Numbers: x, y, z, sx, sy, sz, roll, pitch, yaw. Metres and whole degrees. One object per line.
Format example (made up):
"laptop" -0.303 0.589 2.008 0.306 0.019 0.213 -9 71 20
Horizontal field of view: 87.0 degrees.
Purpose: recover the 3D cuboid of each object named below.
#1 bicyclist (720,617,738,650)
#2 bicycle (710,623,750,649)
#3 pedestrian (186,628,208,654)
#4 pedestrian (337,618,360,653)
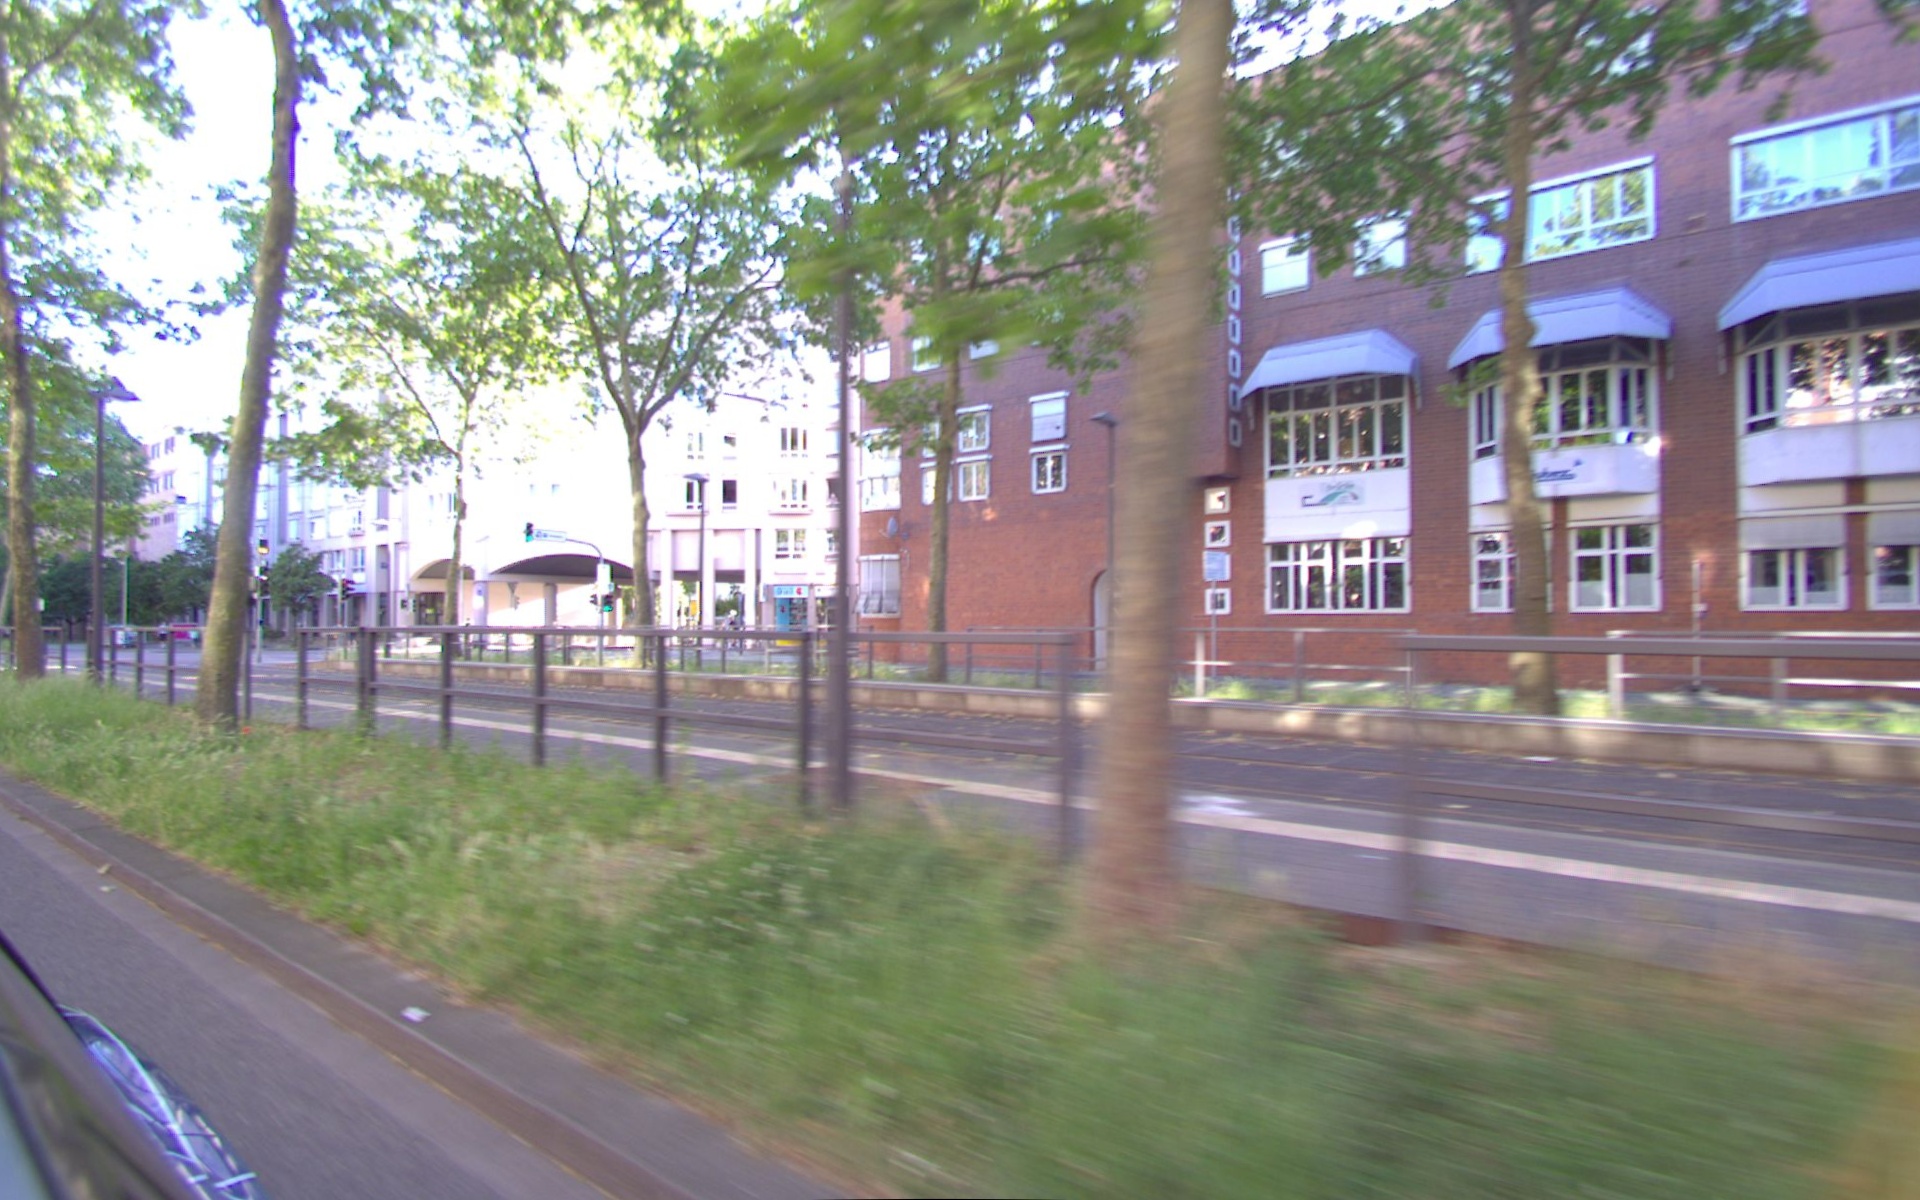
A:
"bicyclist" -11.670 1.690 51.243 0.661 1.661 0.717 -1 0 8
"bicycle" -11.647 1.844 51.239 1.797 1.271 0.772 -1 0 8
"pedestrian" -50.071 2.673 66.409 0.876 1.613 0.992 -1 0 44
"pedestrian" -37.251 2.146 61.634 0.992 2.029 0.877 -1 0 -44
